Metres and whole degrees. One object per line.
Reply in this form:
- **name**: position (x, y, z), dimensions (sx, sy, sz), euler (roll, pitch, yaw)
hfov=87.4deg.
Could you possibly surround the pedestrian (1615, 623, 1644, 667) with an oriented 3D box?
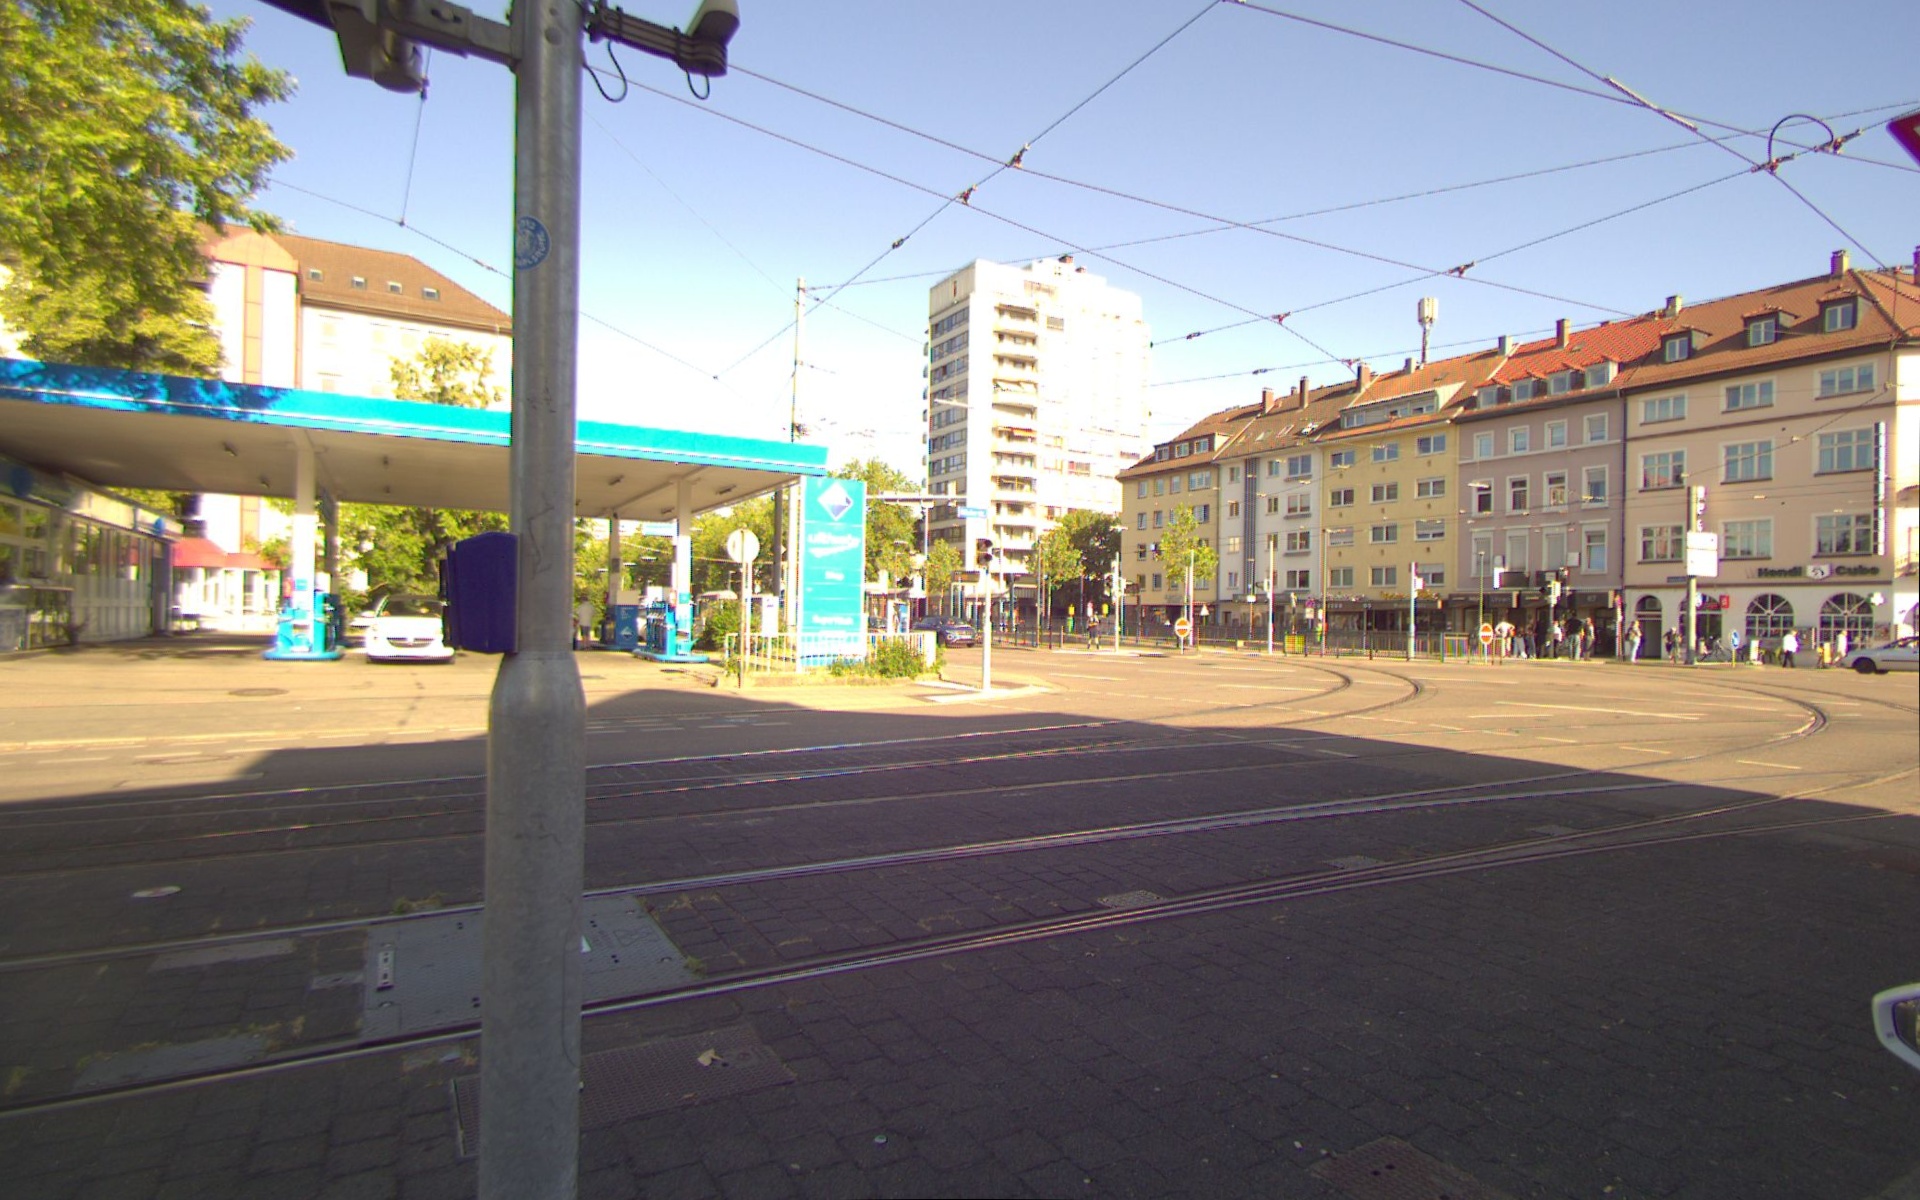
- **pedestrian**: position (26.405, 1.765, 39.605), dimensions (0.621, 1.704, 0.737), euler (1, -1, -30)

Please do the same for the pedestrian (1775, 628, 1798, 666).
- **pedestrian**: position (37.214, 2.107, 45.227), dimensions (0.731, 1.704, 0.626), euler (0, -1, 35)

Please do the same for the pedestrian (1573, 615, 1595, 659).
- **pedestrian**: position (25.558, 1.506, 41.140), dimensions (0.554, 1.810, 0.556), euler (1, -1, -35)

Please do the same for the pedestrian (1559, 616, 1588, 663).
- **pedestrian**: position (24.779, 1.575, 40.558), dimensions (0.714, 1.853, 0.763), euler (1, -1, -30)

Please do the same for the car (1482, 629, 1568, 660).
- **car**: position (30.746, 2.401, 54.778), dimensions (1.795, 1.511, 3.715), euler (2, 0, -27)

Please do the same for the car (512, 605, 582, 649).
- **car**: position (-13.577, 0.854, 32.882), dimensions (1.697, 1.360, 3.970), euler (1, -1, -28)

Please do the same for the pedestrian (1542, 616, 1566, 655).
- **pedestrian**: position (25.036, 1.496, 42.343), dimensions (0.554, 1.602, 0.694), euler (1, -1, -35)

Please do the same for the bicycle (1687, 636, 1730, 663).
- **bicycle**: position (37.597, 2.472, 50.445), dimensions (1.693, 1.293, 0.385), euler (0, -1, 44)

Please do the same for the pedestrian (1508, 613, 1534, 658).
- **pedestrian**: position (23.357, 1.478, 41.830), dimensions (0.769, 1.874, 0.625), euler (1, -1, -30)

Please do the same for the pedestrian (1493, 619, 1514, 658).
- **pedestrian**: position (23.912, 1.673, 44.205), dimensions (0.755, 1.704, 0.628), euler (1, -1, 23)

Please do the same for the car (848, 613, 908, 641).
- **car**: position (-4.484, 1.443, 54.309), dimensions (1.697, 1.439, 4.149), euler (1, -1, -28)

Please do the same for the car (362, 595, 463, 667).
- **car**: position (-12.357, 0.668, 22.561), dimensions (1.793, 1.461, 3.966), euler (1, -1, -31)

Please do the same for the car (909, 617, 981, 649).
- **car**: position (-0.773, 1.531, 47.873), dimensions (1.697, 1.439, 4.149), euler (1, -1, -28)

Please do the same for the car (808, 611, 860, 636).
- **car**: position (-7.611, 1.396, 60.319), dimensions (1.697, 1.439, 4.149), euler (1, -1, -28)

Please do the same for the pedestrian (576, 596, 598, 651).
- **pedestrian**: position (-11.924, 0.745, 32.065), dimensions (0.579, 1.715, 0.756), euler (1, -1, -25)

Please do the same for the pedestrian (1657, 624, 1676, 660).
- **pedestrian**: position (33.904, 2.026, 48.178), dimensions (0.731, 1.704, 0.626), euler (0, -1, 35)

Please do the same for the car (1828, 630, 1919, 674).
- **car**: position (33.103, 1.813, 34.961), dimensions (1.863, 1.442, 4.009), euler (1, -1, -29)

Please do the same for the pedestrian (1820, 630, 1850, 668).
- **pedestrian**: position (39.461, 2.202, 45.307), dimensions (0.736, 1.704, 0.902), euler (1, -1, -36)
